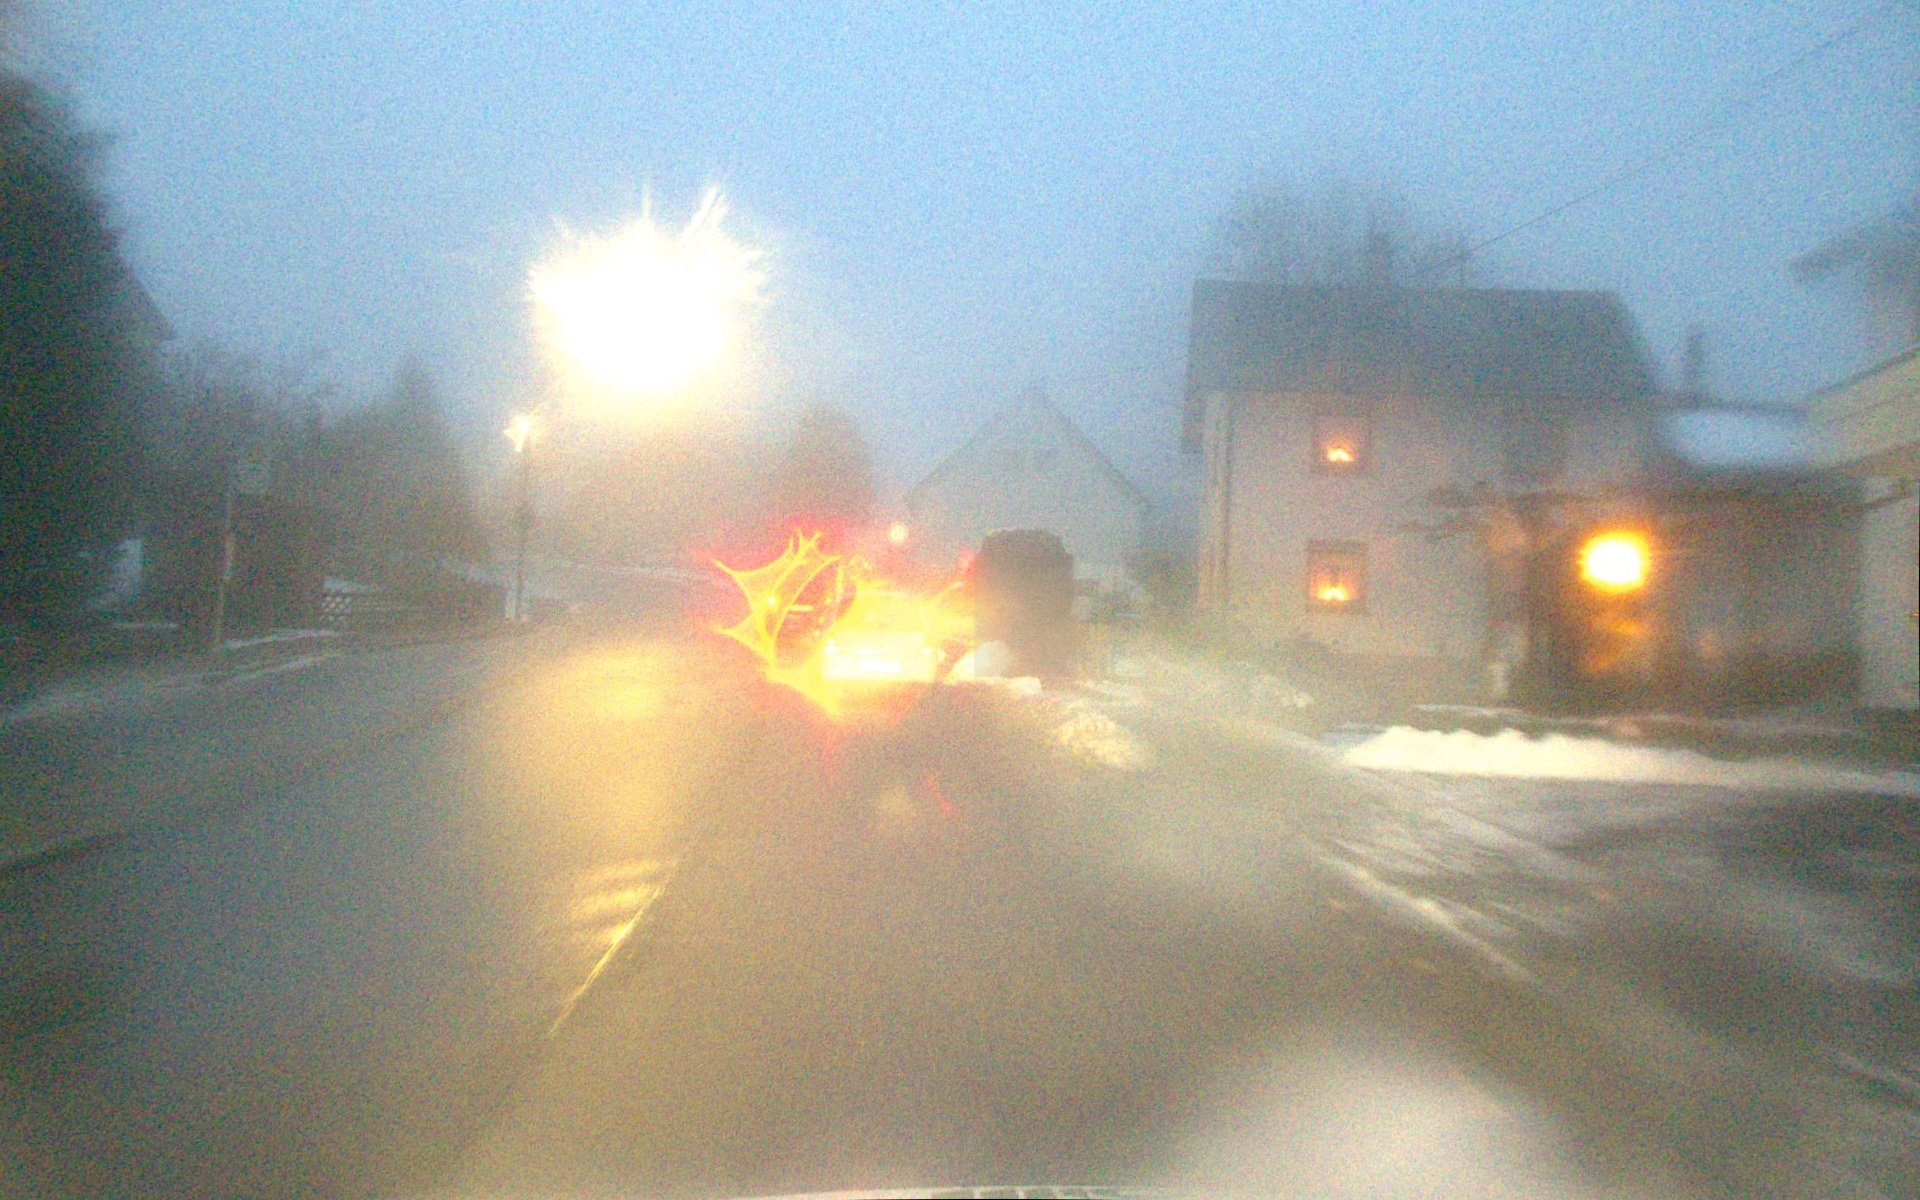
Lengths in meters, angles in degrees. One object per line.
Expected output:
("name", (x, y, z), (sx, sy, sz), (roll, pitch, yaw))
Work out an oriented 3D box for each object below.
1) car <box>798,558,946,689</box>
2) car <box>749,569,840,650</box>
("car", (-1.251, 0.321, 23.009), (1.860, 1.637, 3.996), (1, -1, -4))
("car", (-3.857, 0.227, 38.152), (1.956, 1.767, 3.872), (1, -1, -7))
